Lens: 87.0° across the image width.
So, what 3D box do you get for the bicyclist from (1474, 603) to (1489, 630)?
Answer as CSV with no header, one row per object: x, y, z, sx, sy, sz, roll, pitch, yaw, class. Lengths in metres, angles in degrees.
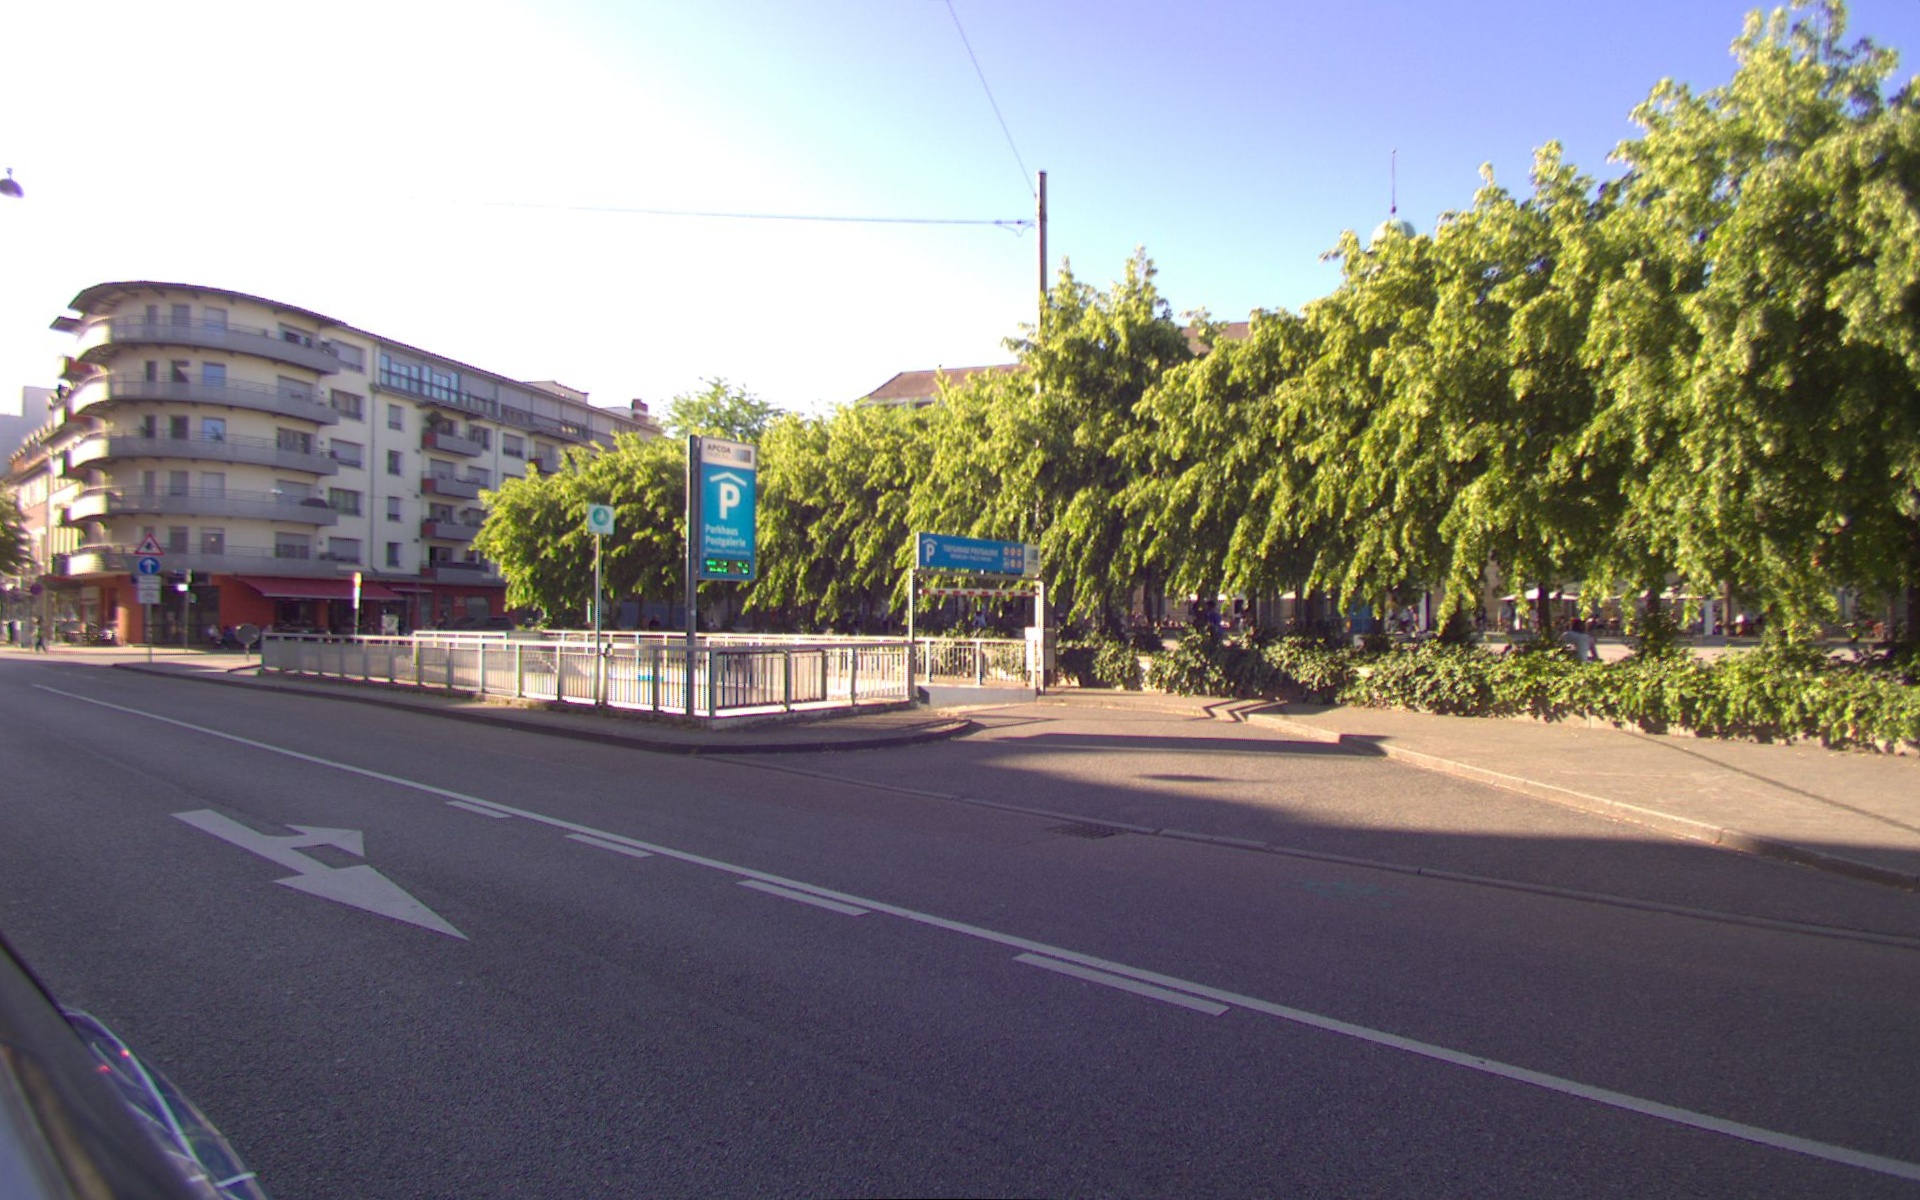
27.789,0.872,53.889,0.670,1.439,0.692,-1,-1,26,bicyclist

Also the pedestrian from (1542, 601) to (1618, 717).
9.782,0.905,15.961,0.885,1.771,0.738,0,-1,-39,pedestrian

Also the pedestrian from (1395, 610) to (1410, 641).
27.632,1.588,63.153,0.751,1.948,0.938,-1,-1,20,pedestrian

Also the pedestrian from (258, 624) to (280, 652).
-36.721,2.013,53.757,0.782,1.473,0.582,0,-1,3,pedestrian

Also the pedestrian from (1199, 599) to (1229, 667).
6.367,0.818,25.379,0.672,1.683,0.843,-1,-1,13,pedestrian

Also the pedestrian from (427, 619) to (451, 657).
-25.036,1.833,48.651,0.753,1.819,0.748,-1,-1,25,pedestrian

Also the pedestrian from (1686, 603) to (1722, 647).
29.935,1.001,40.735,0.889,1.771,0.735,-1,-1,9,pedestrian

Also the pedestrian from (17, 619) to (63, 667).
-40.400,1.868,44.444,1.004,2.029,1.202,-1,0,-11,pedestrian

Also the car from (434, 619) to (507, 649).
-30.512,2.118,63.189,1.983,1.763,3.977,-1,-1,17,car

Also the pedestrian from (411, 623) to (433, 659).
-25.526,1.936,47.990,0.697,1.719,0.667,-1,-1,33,pedestrian

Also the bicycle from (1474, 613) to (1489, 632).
27.737,1.200,53.857,0.586,0.961,1.891,-1,-2,24,bicycle

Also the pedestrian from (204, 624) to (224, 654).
-37.724,1.976,51.186,0.780,1.472,0.583,0,-1,-40,pedestrian

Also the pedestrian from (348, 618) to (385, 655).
-32.656,1.998,55.676,1.251,2.029,1.226,-1,-1,19,pedestrian

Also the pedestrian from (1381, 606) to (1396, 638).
26.885,1.370,63.518,0.751,1.948,0.938,-1,-1,20,pedestrian

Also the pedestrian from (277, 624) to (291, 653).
-35.301,2.009,52.877,0.573,1.501,0.794,0,-1,-36,pedestrian
